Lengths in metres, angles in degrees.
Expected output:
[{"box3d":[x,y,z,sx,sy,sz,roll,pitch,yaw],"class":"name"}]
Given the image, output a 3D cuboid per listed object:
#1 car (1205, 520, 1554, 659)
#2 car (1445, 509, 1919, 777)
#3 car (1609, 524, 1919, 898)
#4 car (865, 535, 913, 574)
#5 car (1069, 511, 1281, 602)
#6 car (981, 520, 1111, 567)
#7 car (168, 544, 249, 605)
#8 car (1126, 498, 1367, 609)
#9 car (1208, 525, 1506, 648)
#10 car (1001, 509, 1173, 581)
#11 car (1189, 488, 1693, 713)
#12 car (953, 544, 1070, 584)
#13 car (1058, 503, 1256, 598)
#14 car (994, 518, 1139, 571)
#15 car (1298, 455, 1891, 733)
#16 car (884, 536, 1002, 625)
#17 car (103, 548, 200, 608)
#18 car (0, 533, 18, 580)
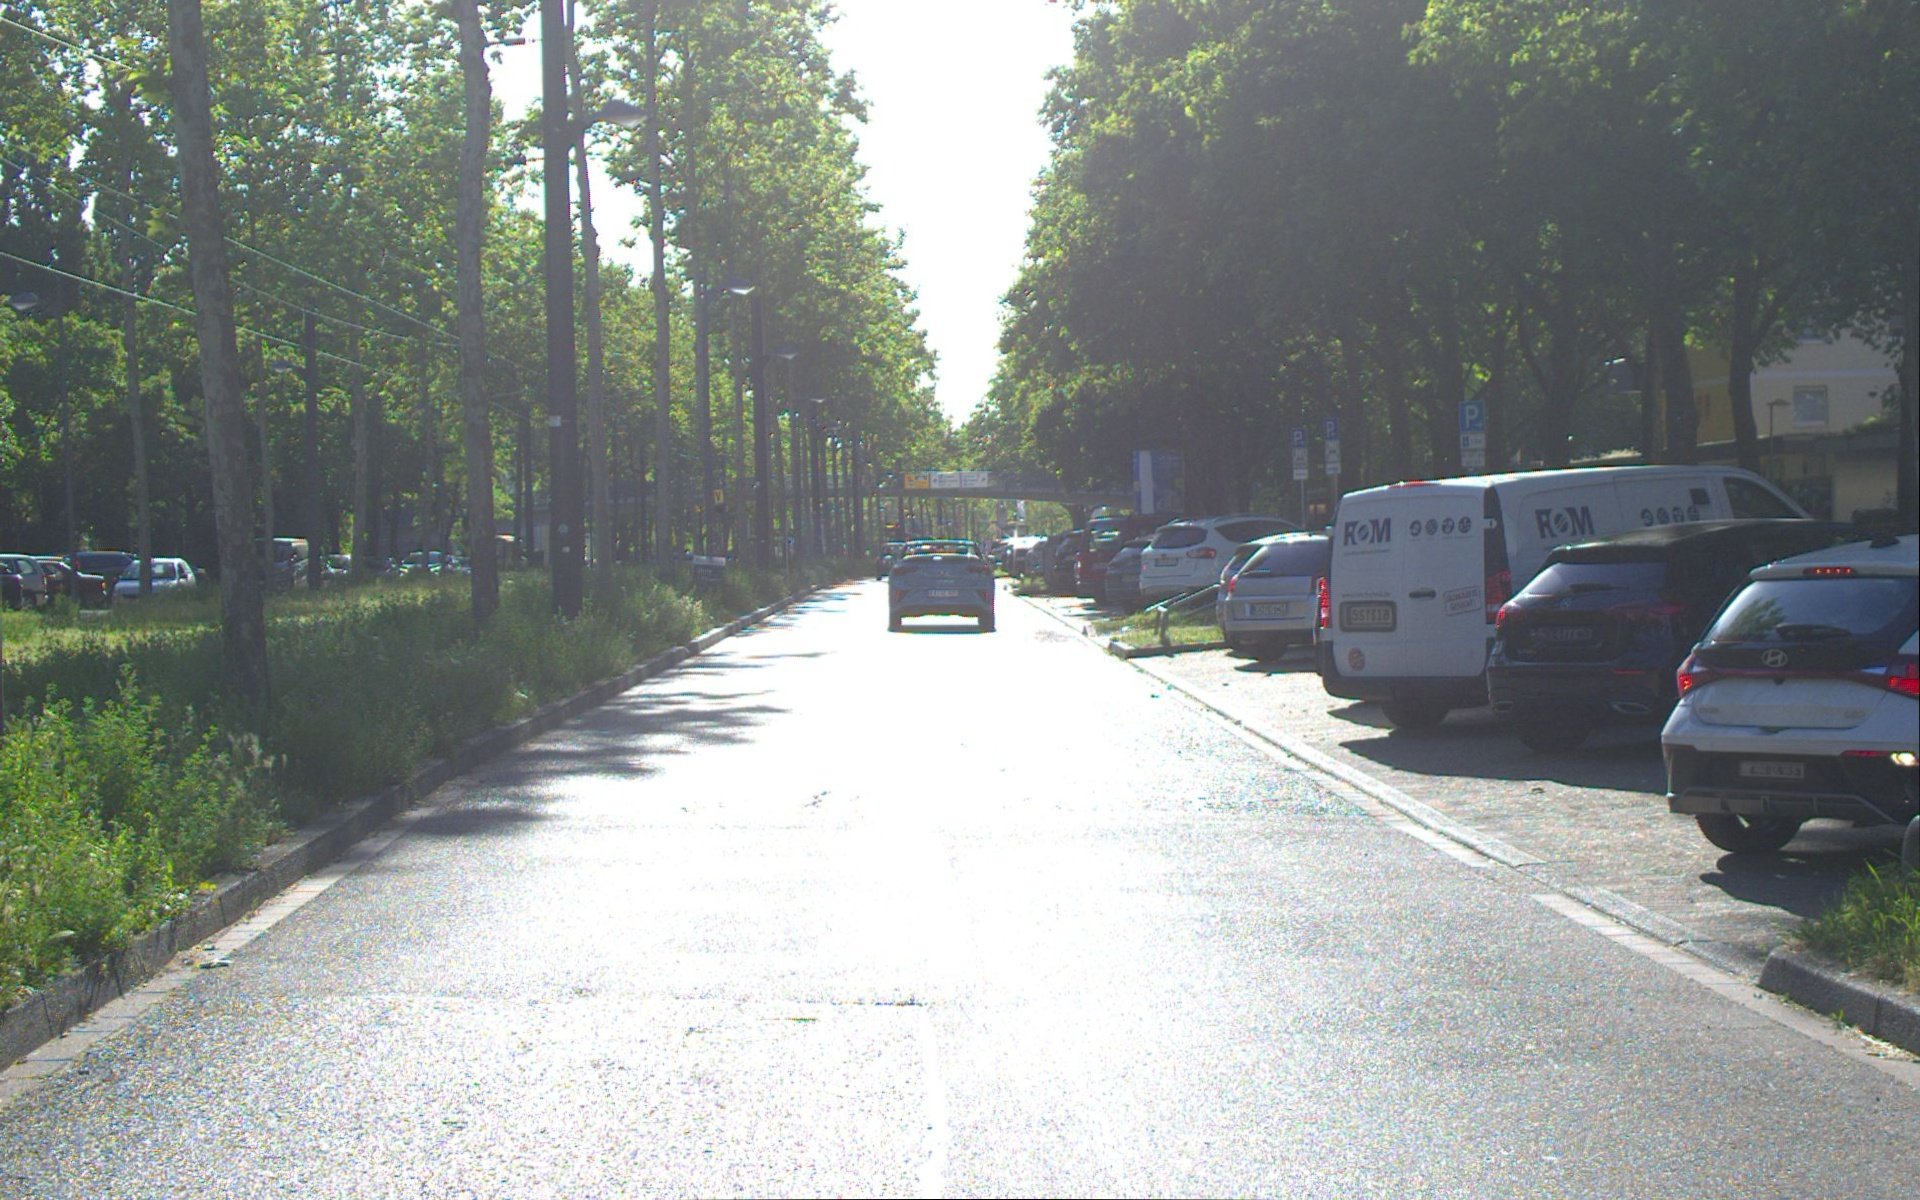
[{"box3d":[4.917,-0.139,39.905,4.174,1.407,1.719,-4,2,-44],"class":"car"},{"box3d":[5.280,0.218,22.380,3.986,1.424,1.799,-5,2,-35],"class":"car"},{"box3d":[5.133,0.359,15.878,3.986,1.464,1.761,-5,2,-32],"class":"car"},{"box3d":[-2.883,-1.875,140.157,1.849,1.530,3.866,-1,1,0],"class":"car"},{"box3d":[3.899,-0.799,62.109,3.777,1.465,1.650,-4,2,-44],"class":"car"},{"box3d":[2.952,-1.933,117.352,4.318,1.420,1.855,-4,2,-44],"class":"car"},{"box3d":[-26.642,-0.929,121.961,1.645,2.086,4.915,2,1,1],"class":"car"},{"box3d":[4.913,-0.800,58.646,4.017,1.699,1.760,-3,2,-41],"class":"car"},{"box3d":[5.083,-0.182,43.724,3.929,1.368,1.587,-4,2,-44],"class":"car"},{"box3d":[3.215,-1.389,86.475,4.308,1.711,1.635,-2,2,-39],"class":"car"},{"box3d":[4.217,-0.035,29.728,4.490,1.699,1.760,-4,2,-41],"class":"car"},{"box3d":[2.043,-1.429,136.079,1.978,1.454,4.613,-1,1,44],"class":"car"},{"box3d":[4.162,-1.055,72.284,4.074,1.804,1.650,-3,1,-40],"class":"car"},{"box3d":[3.333,-1.726,107.109,4.482,1.438,1.855,-4,2,-44],"class":"car"},{"box3d":[4.886,-0.097,26.087,4.658,1.846,1.830,-3,1,-40],"class":"car"},{"box3d":[-0.317,-0.355,58.207,1.922,1.406,4.000,0,1,-1],"class":"car"},{"box3d":[-21.025,-0.585,89.509,1.646,1.480,3.850,-2,1,-1],"class":"car"},{"box3d":[-32.361,-1.344,109.948,3.910,1.482,1.794,-2,1,-43],"class":"car"}]
